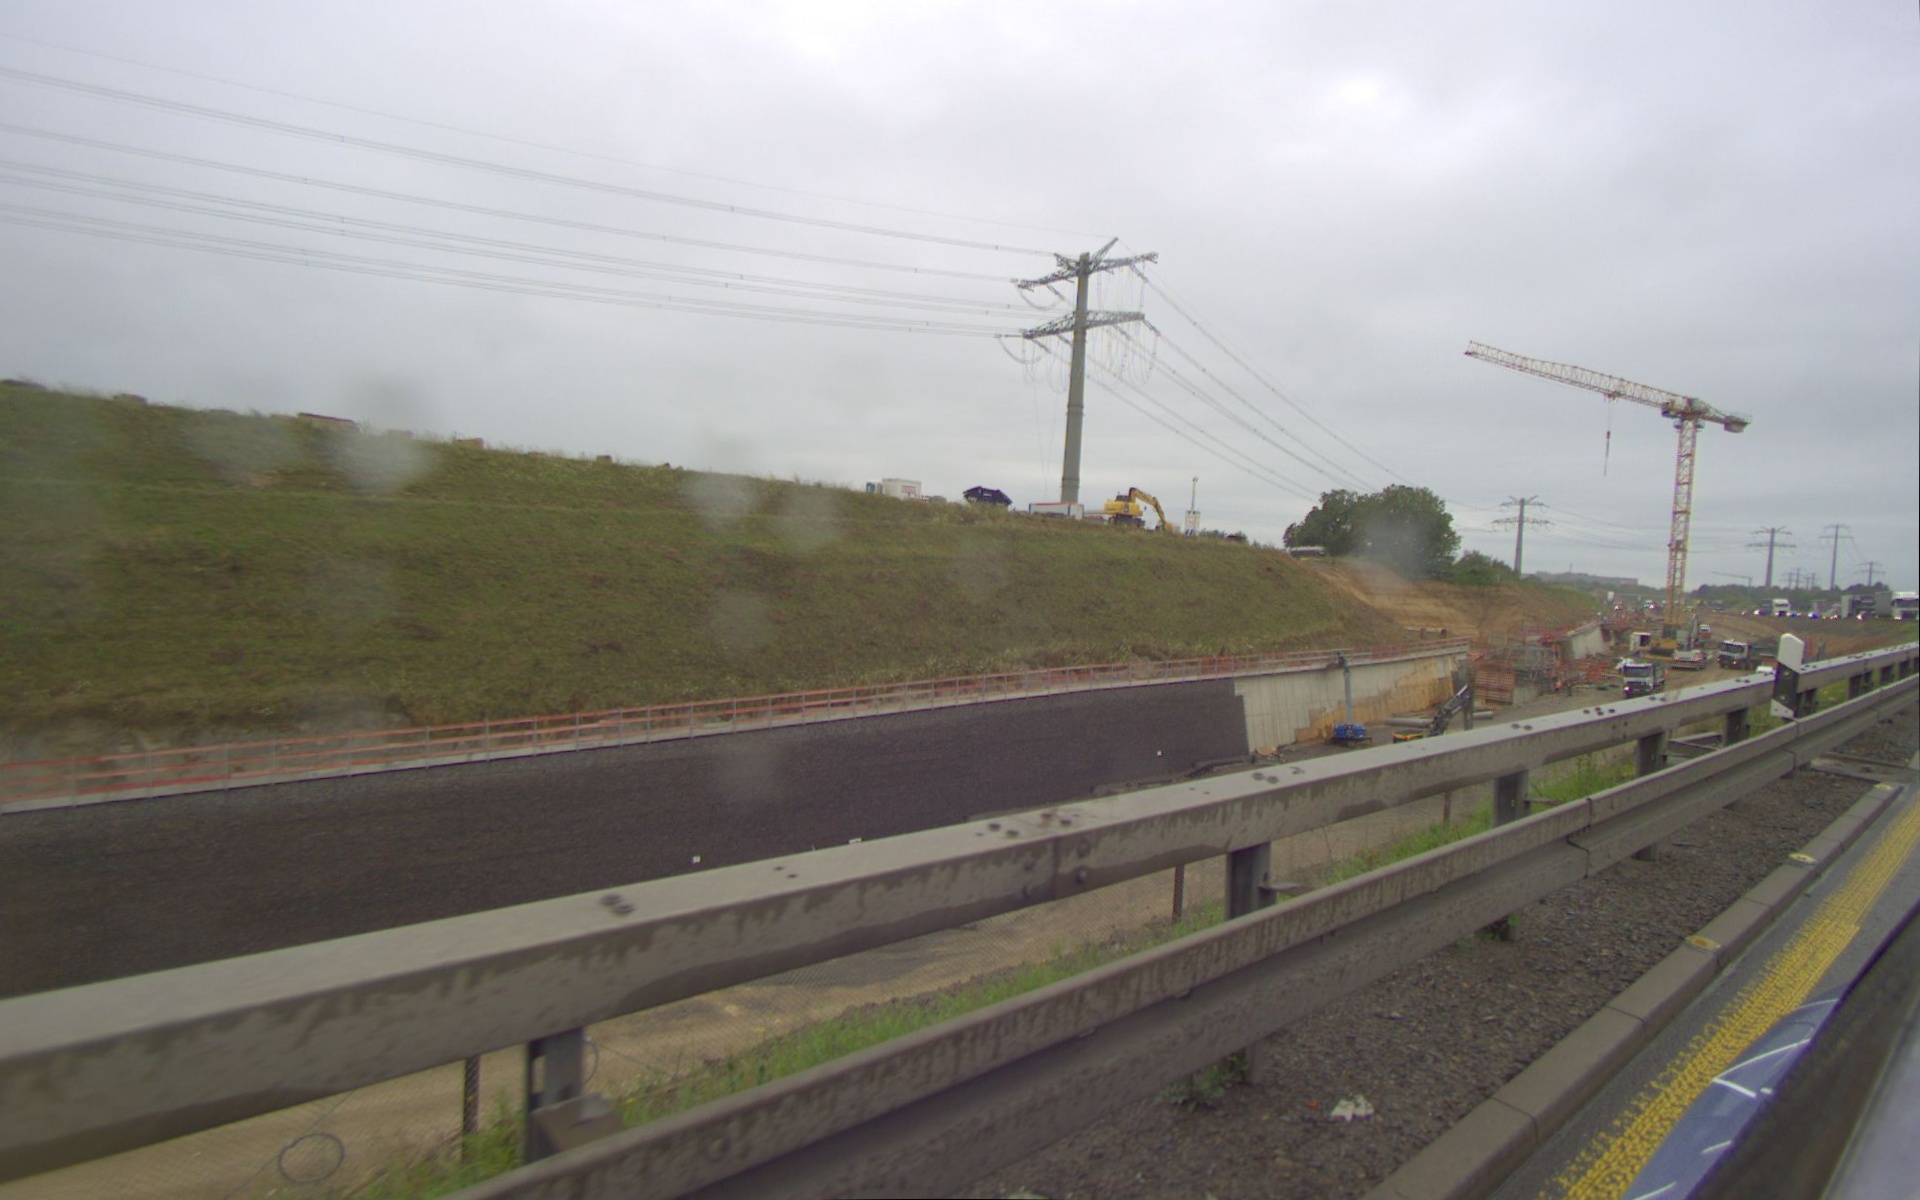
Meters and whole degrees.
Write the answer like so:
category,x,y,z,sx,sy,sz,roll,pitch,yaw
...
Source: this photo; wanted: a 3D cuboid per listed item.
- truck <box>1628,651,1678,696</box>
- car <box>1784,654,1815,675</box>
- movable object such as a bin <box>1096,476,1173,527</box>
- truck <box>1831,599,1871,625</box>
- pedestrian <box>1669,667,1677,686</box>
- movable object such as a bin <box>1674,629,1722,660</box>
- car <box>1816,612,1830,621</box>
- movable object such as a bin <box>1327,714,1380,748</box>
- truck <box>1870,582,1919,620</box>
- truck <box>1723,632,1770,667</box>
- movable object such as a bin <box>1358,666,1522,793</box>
category,x,y,z,sx,sy,sz,roll,pitch,yaw
truck,69.003,7.223,100.720,2.703,3.655,8.934,3,3,43
car,100.292,7.702,120.928,3.933,2.041,1.994,0,-13,-43
movable object such as a bin,16.969,-9.426,98.145,8.039,4.259,3.103,1,1,-43
truck,142.103,1.857,161.476,3.522,3.943,8.235,0,0,33
pedestrian,78.749,8.454,111.822,0.601,1.928,0.605,3,2,40
movable object such as a bin,91.443,5.465,125.422,6.539,3.467,3.514,-1,1,-42
car,147.211,2.740,172.623,1.782,1.445,3.943,0,0,39
movable object such as a bin,27.993,9.276,71.950,2.513,1.935,3.209,-2,-1,41
truck,113.615,0.124,122.623,4.299,4.400,13.218,-1,0,39
truck,98.728,6.124,127.009,8.761,3.583,3.356,-3,3,-43
movable object such as a bin,29.315,7.493,61.419,11.894,5.740,4.897,-3,1,-44
